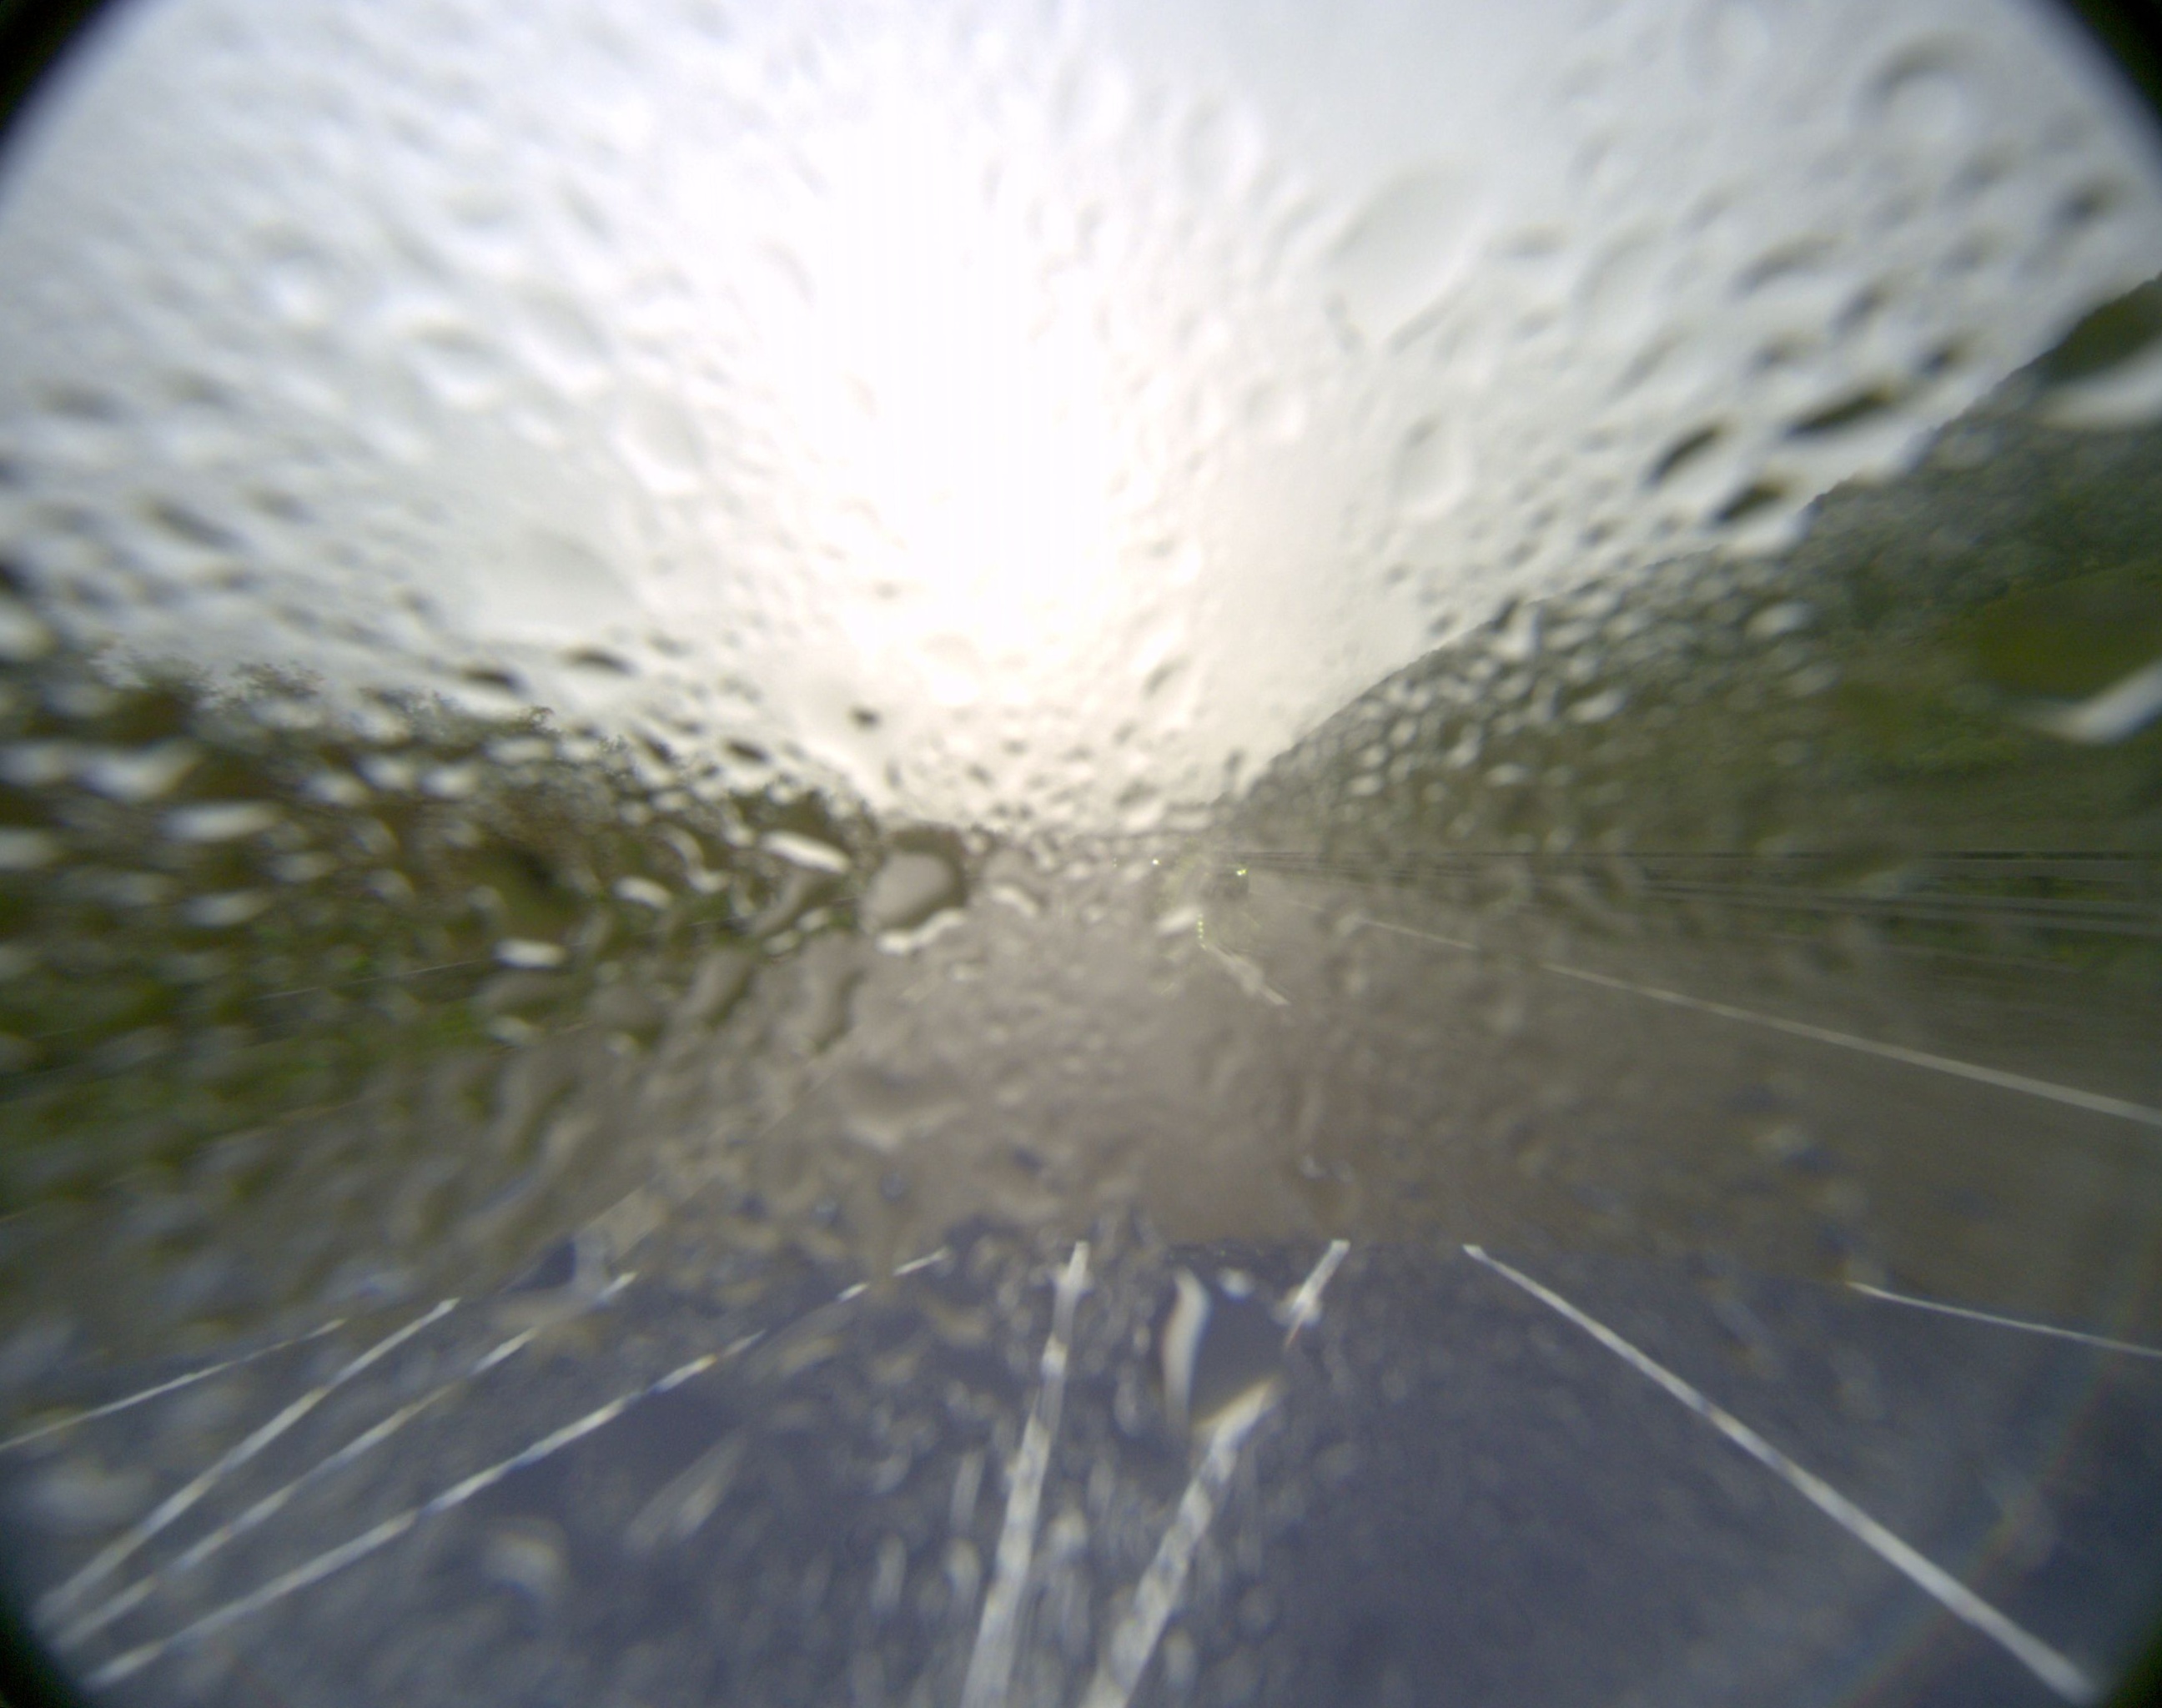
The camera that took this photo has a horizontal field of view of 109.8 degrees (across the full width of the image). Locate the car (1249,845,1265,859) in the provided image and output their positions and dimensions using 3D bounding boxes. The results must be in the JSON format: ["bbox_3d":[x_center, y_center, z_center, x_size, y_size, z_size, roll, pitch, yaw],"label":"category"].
[{"bbox_3d":[27.727,-0.317,119.937,1.794,2.002,4.001,-2,0,4],"label":"car"}]

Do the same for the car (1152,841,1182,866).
[{"bbox_3d":[6.215,-0.034,55.286,1.814,1.692,3.749,-3,1,2],"label":"car"}]

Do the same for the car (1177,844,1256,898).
[{"bbox_3d":[4.676,0.514,26.917,1.998,1.673,4.908,-1,1,1],"label":"car"}]

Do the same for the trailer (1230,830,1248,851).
[{"bbox_3d":[38.739,-3.244,186.647,2.742,4.758,14.047,-2,0,5],"label":"trailer"}]

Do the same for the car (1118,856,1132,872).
[{"bbox_3d":[6.232,1.382,108.146,1.836,2.002,3.938,-3,1,1],"label":"car"}]
